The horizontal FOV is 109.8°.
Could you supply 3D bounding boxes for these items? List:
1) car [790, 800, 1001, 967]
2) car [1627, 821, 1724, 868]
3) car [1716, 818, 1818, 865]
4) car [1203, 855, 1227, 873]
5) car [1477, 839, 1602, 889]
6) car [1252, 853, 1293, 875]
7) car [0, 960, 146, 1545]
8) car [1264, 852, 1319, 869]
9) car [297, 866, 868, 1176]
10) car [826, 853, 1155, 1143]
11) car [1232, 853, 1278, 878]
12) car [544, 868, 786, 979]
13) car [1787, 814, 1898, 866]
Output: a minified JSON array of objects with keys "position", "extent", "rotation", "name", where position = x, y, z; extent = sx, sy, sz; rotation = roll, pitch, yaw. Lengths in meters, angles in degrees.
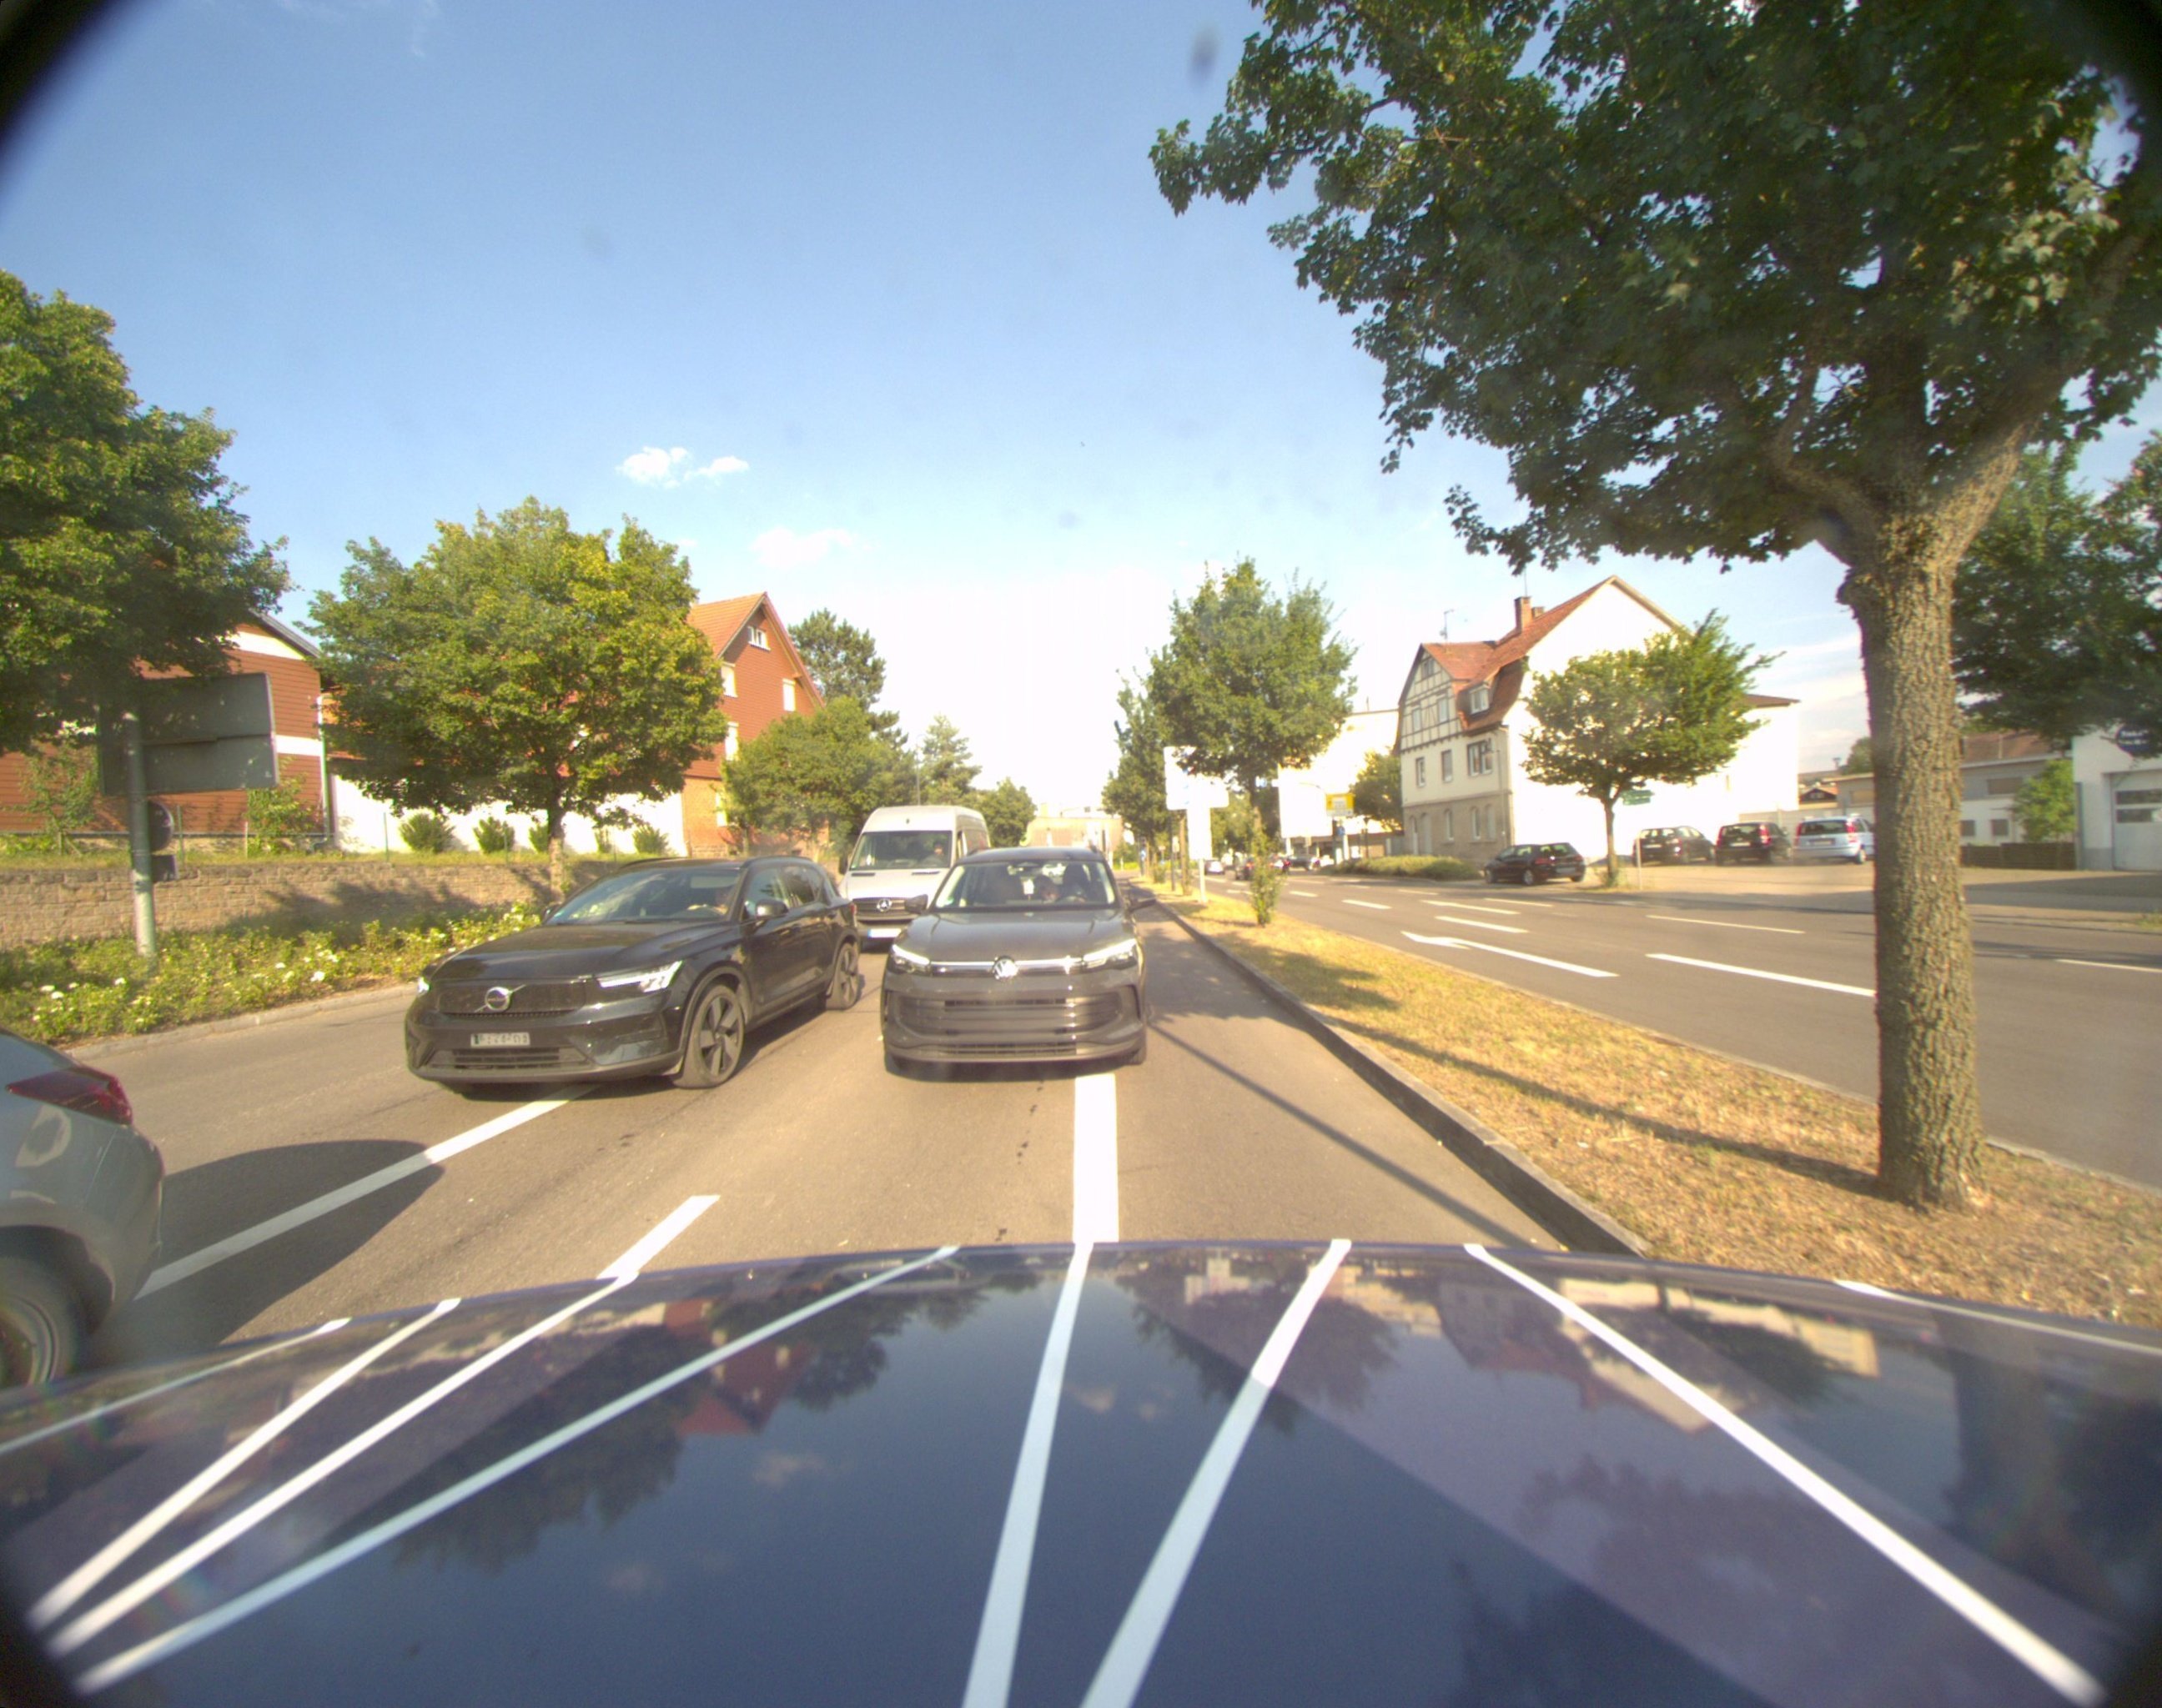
[{"position":[-3.218,0.448,14.925],"extent":[2.370,2.532,6.192],"rotation":[-2,0,2],"name":"car"},{"position":[23.392,-0.401,29.875],"extent":[4.006,1.543,1.764],"rotation":[-4,1,-33],"name":"car"},{"position":[24.894,-0.480,27.558],"extent":[4.006,1.543,1.763],"rotation":[-2,1,-33],"name":"car"},{"position":[11.122,0.819,63.249],"extent":[1.783,1.341,4.481],"rotation":[-2,0,8],"name":"car"},{"position":[15.997,0.316,26.794],"extent":[1.839,1.435,4.195],"rotation":[-5,0,1],"name":"car"},{"position":[13.860,0.697,55.317],"extent":[1.848,1.413,4.644],"rotation":[-2,0,1],"name":"car"},{"position":[-3.626,1.064,0.116],"extent":[1.748,1.433,4.166],"rotation":[-2,0,0],"name":"car"},{"position":[19.190,0.598,69.364],"extent":[4.660,1.346,1.768],"rotation":[-2,1,9],"name":"car"},{"position":[-3.372,0.971,6.320],"extent":[1.886,1.599,4.128],"rotation":[-2,0,2],"name":"car"},{"position":[-0.481,0.854,6.866],"extent":[1.894,1.647,4.730],"rotation":[-2,0,1],"name":"car"},{"position":[10.187,0.643,44.800],"extent":[1.649,1.378,4.189],"rotation":[-2,0,-1],"name":"car"},{"position":[-7.128,1.096,13.619],"extent":[1.820,1.510,4.201],"rotation":[-2,0,2],"name":"car"},{"position":[24.968,-0.479,24.883],"extent":[4.006,1.543,1.763],"rotation":[-2,1,-33],"name":"car"}]
